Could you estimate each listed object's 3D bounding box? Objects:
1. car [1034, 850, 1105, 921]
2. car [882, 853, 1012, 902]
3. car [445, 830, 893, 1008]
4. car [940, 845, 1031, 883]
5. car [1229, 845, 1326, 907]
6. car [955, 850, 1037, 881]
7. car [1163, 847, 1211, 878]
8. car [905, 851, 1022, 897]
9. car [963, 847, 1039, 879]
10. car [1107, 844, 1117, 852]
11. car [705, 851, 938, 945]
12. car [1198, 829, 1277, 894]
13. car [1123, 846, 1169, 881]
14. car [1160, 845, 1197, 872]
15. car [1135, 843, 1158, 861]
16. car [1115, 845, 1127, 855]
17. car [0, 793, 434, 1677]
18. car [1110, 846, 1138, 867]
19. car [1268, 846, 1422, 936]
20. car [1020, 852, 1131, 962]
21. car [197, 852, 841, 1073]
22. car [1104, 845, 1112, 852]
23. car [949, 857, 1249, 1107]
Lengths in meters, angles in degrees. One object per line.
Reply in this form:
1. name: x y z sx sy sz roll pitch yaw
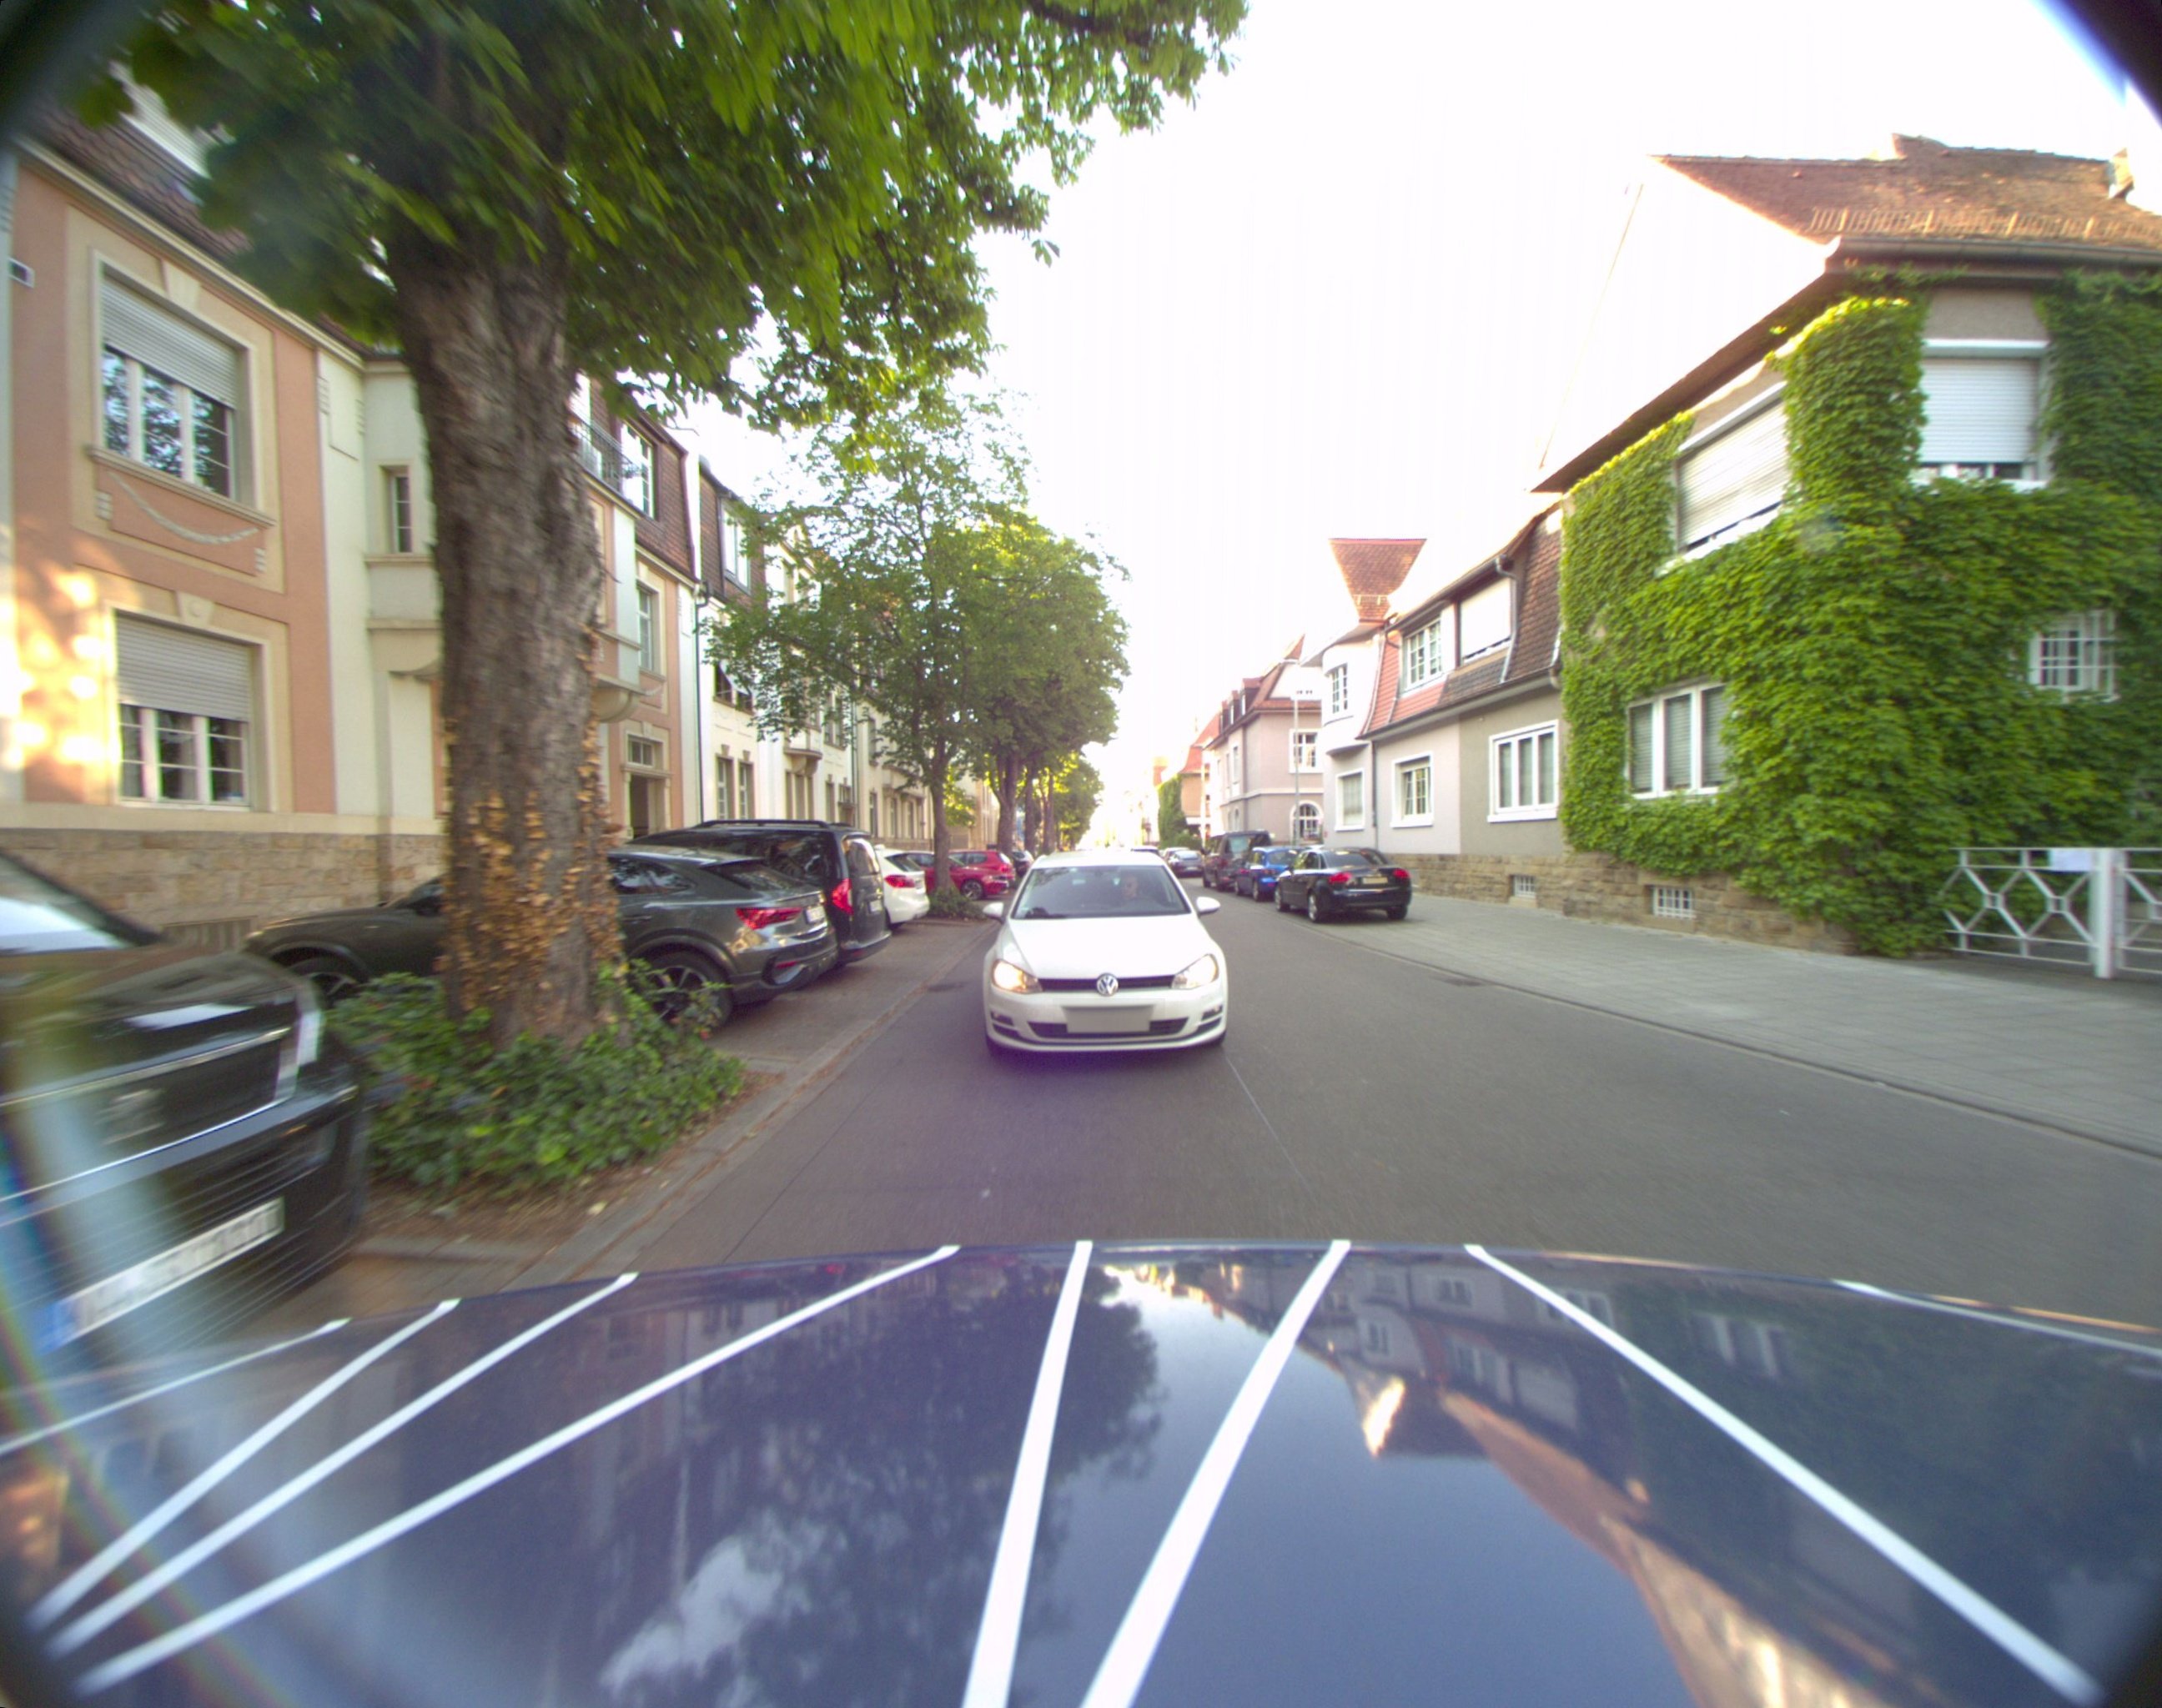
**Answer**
1. car: -0.213 0.690 18.722 1.560 1.546 3.738 1 1 1
2. car: -3.964 0.683 22.862 3.622 1.395 1.537 1 1 1
3. car: -4.404 0.663 8.644 4.173 1.816 1.594 1 2 -4
4. car: -3.961 0.420 31.983 3.622 1.555 1.537 0 1 1
5. car: 5.393 0.538 21.383 1.611 1.455 4.023 -4 1 0
6. car: -3.909 0.524 35.249 3.622 1.395 1.537 0 1 1
7. car: 5.226 0.370 37.801 1.719 1.363 4.334 -3 1 0
8. car: -3.872 0.638 25.381 3.622 1.456 1.537 1 1 1
9. car: -3.954 0.457 37.912 3.622 1.555 1.537 0 1 1
10. car: 6.143 -1.248 150.364 1.643 1.461 3.689 -3 1 1
11. car: -4.476 0.734 13.491 3.623 1.541 1.537 1 1 -4
12. car: 5.301 0.204 26.311 1.719 1.962 4.310 -4 1 0
13. car: 2.893 0.387 34.573 1.620 1.493 3.591 1 1 -2
14. car: 5.486 0.232 43.097 1.541 1.363 3.945 -3 1 0
15. car: 5.919 -0.190 69.231 1.643 1.461 3.945 -3 1 0
16. car: 6.137 -0.588 116.089 1.643 1.461 3.689 -3 1 1
17. car: -4.632 0.757 1.561 4.835 1.814 1.880 1 2 -4
18. car: 3.104 0.166 55.593 1.785 1.453 4.299 1 0 0
19. car: 5.174 0.644 15.457 1.751 1.421 4.023 -4 1 2
20. car: -0.041 0.769 13.055 1.600 1.546 4.000 1 1 1
21. car: -4.369 0.813 6.454 4.173 1.583 1.594 1 2 -4
22. car: 6.198 -1.313 174.314 1.643 1.461 3.689 -3 1 1
23. car: 0.087 0.799 6.705 1.799 1.420 4.023 -2 1 -1
